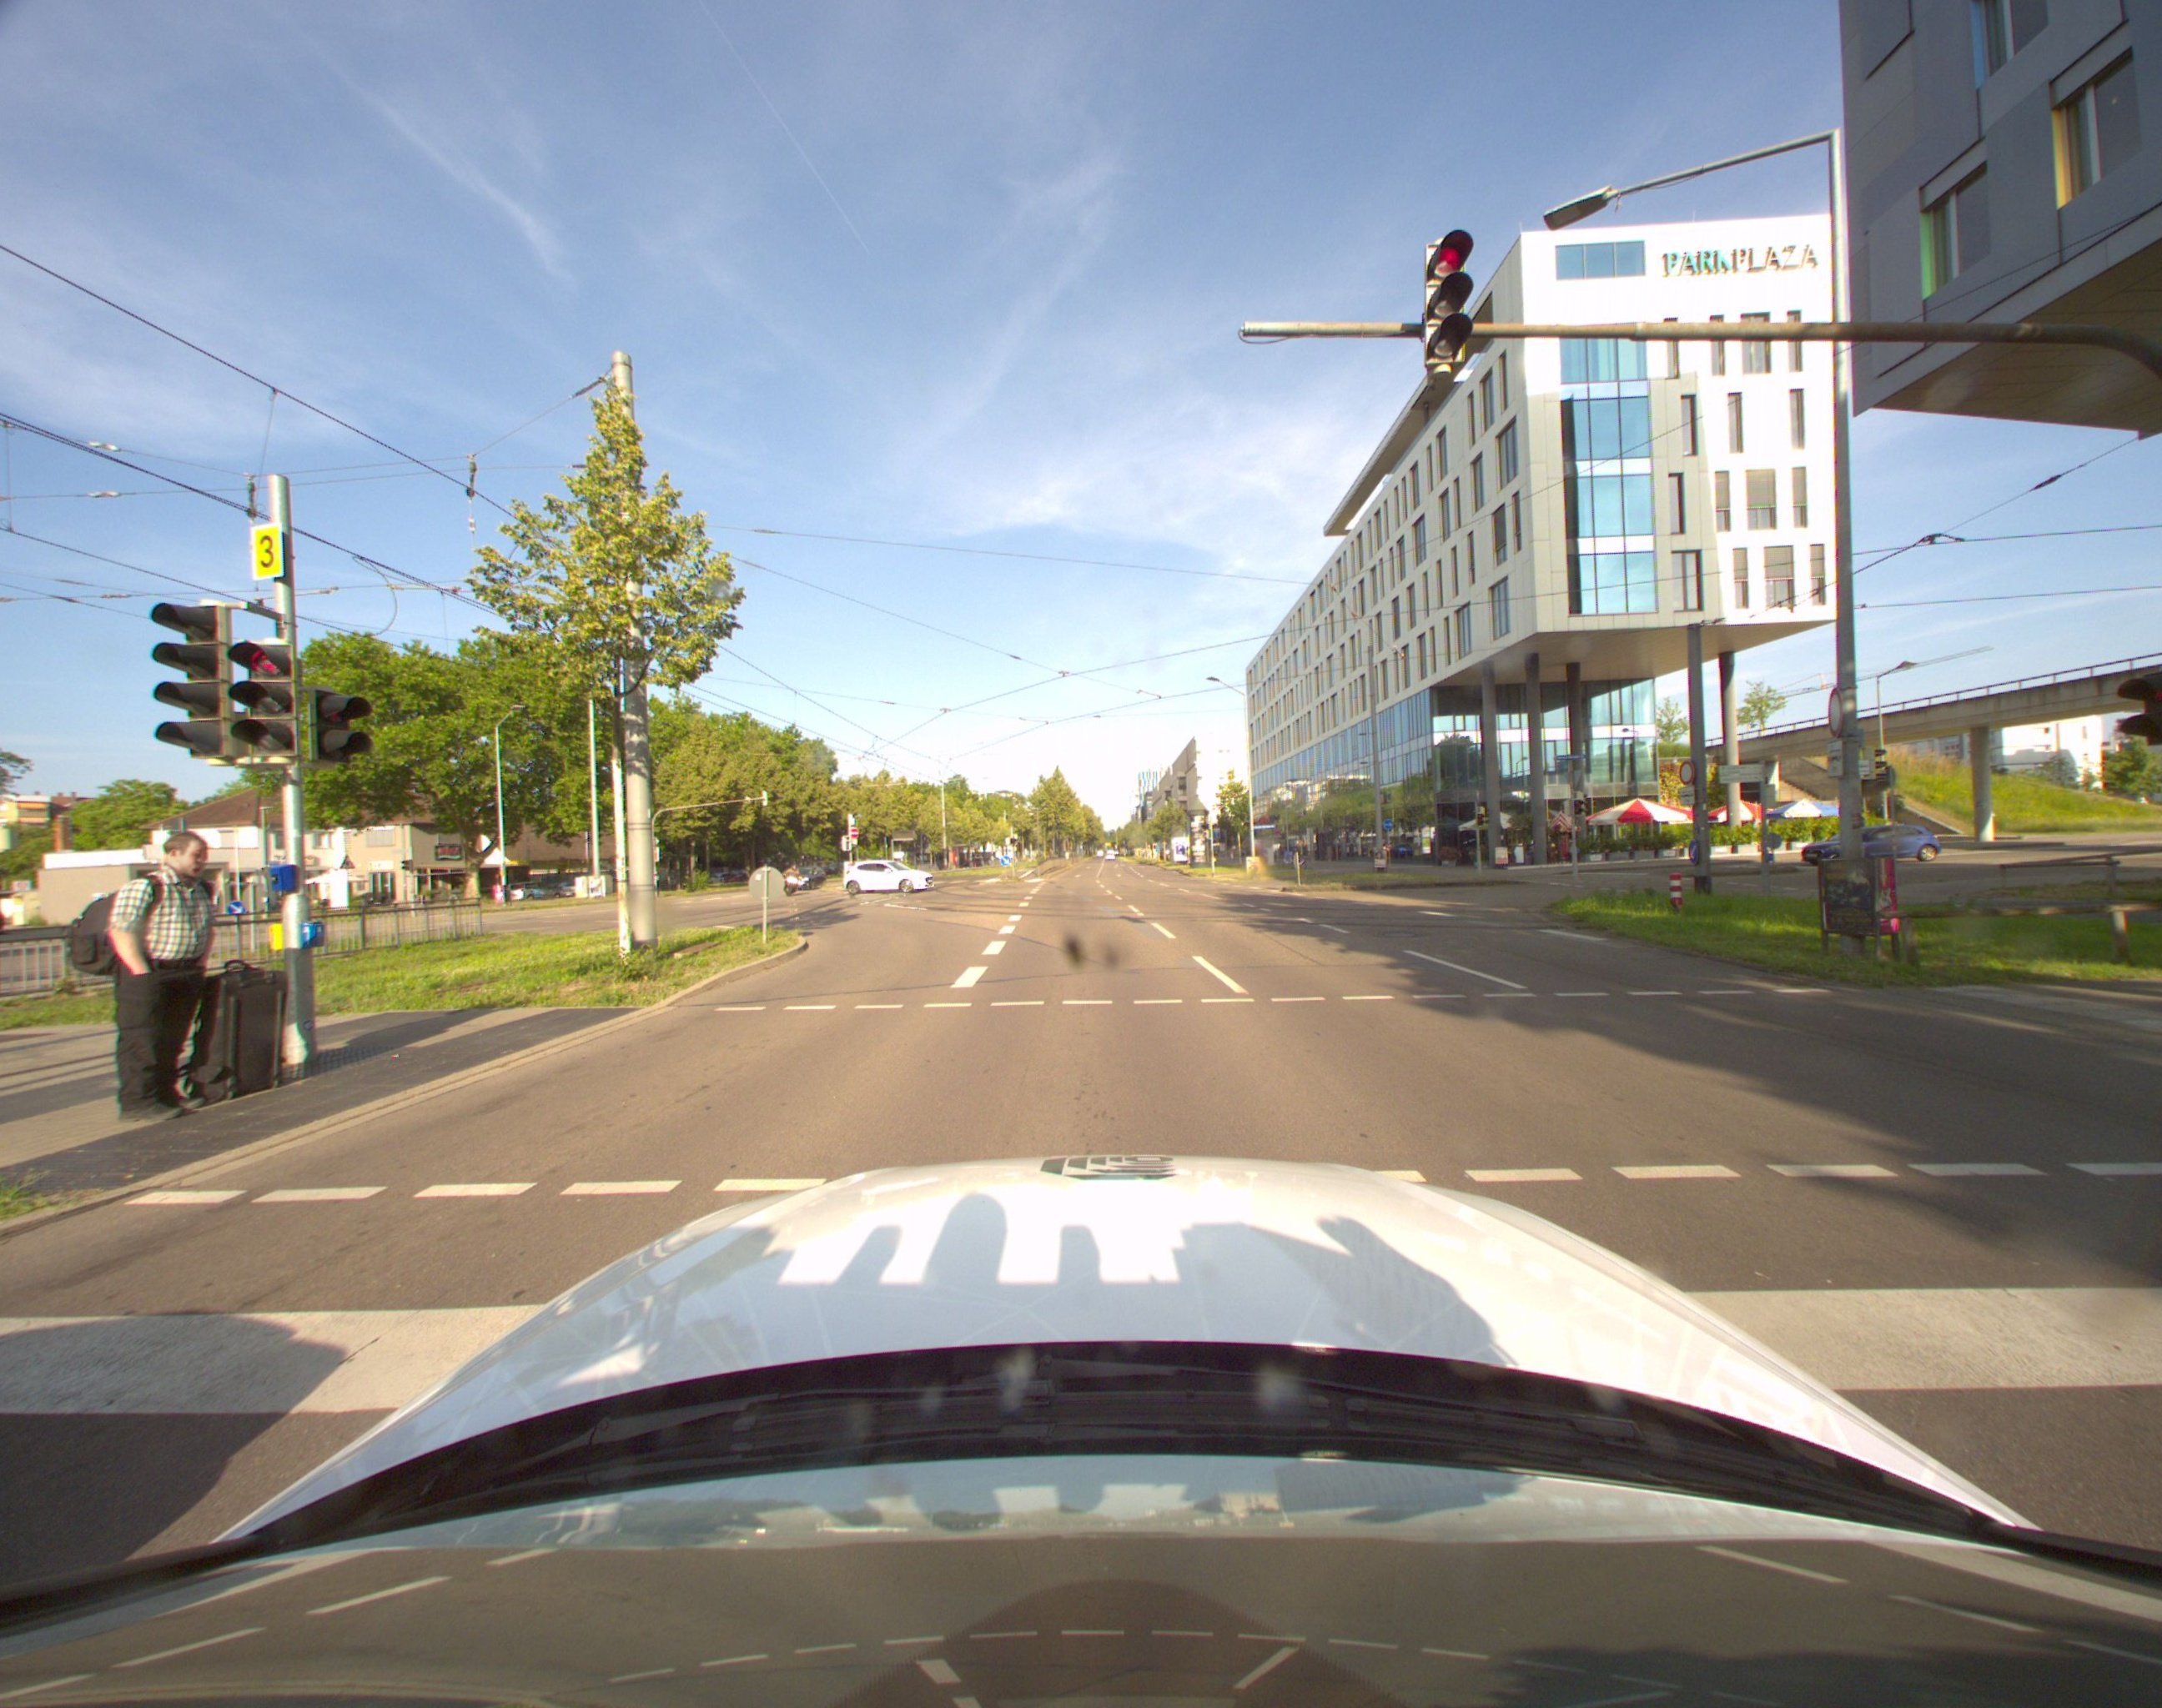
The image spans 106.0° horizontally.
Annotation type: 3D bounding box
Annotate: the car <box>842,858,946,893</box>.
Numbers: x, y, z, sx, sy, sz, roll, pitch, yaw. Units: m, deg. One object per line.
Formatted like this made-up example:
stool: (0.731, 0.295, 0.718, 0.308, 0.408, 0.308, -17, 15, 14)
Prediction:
car: (-8.418, 0.963, 36.774, 4.050, 1.504, 2.008, -1, 0, 14)

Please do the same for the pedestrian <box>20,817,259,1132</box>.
pedestrian: (-5.698, 0.688, 4.969, 0.697, 1.792, 0.636, -1, 0, 2)

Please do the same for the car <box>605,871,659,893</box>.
car: (-37.024, 2.277, 67.249, 1.871, 1.559, 4.008, -3, 0, 7)

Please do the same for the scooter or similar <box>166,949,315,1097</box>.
scooter or similar: (-5.664, 1.123, 5.506, 0.546, 0.907, 0.430, -1, 0, 2)

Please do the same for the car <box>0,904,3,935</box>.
car: (-63.532, 3.795, 45.644, 3.964, 1.728, 2.005, -2, 0, 8)

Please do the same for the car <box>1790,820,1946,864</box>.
car: (30.232, -0.463, 31.387, 4.170, 1.424, 1.859, -3, 0, 1)

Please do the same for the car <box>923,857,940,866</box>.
car: (-27.548, 1.410, 150.410, 1.871, 1.559, 4.008, -3, 0, 7)

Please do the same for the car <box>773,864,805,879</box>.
car: (-34.060, 2.067, 95.164, 1.871, 1.559, 4.008, -3, 0, 7)

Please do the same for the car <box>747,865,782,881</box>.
car: (-34.750, 2.042, 89.604, 1.871, 1.559, 4.008, -3, 0, 7)

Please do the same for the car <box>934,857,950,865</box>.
car: (-26.797, 1.341, 156.821, 1.871, 1.559, 4.008, -3, 0, 7)

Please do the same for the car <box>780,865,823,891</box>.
car: (-17.443, 1.488, 50.979, 1.729, 1.461, 4.558, -3, -1, -10)

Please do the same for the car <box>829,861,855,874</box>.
car: (-32.104, 1.782, 109.662, 1.871, 1.559, 4.008, -3, 0, 7)

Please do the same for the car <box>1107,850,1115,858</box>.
car: (6.817, 0.012, 186.891, 1.857, 1.684, 4.003, 0, 1, 2)

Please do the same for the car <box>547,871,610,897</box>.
car: (-37.713, 2.246, 61.206, 1.871, 1.750, 4.008, -3, 0, 7)

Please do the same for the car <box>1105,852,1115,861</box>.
car: (5.547, 0.470, 153.917, 1.857, 1.684, 4.003, 0, 1, 2)

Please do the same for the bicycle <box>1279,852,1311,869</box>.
bicycle: (13.867, 0.401, 52.814, 0.778, 1.032, 1.856, -2, 2, -42)

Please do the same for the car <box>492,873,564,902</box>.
car: (-38.231, 2.296, 56.456, 1.871, 1.750, 4.008, -3, 0, 7)

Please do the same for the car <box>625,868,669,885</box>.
car: (-43.785, 2.222, 82.165, 1.871, 1.559, 4.008, -3, 0, 7)

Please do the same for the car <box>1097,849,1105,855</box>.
car: (5.585, -0.645, 226.663, 2.007, 1.684, 4.003, 0, 1, 2)

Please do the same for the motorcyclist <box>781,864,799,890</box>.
motorcyclist: (-14.095, 1.105, 39.396, 0.785, 1.202, 0.841, -1, 0, -22)

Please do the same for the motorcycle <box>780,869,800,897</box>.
motorcycle: (-14.104, 1.387, 39.407, 0.821, 1.263, 2.531, -1, 0, -21)
